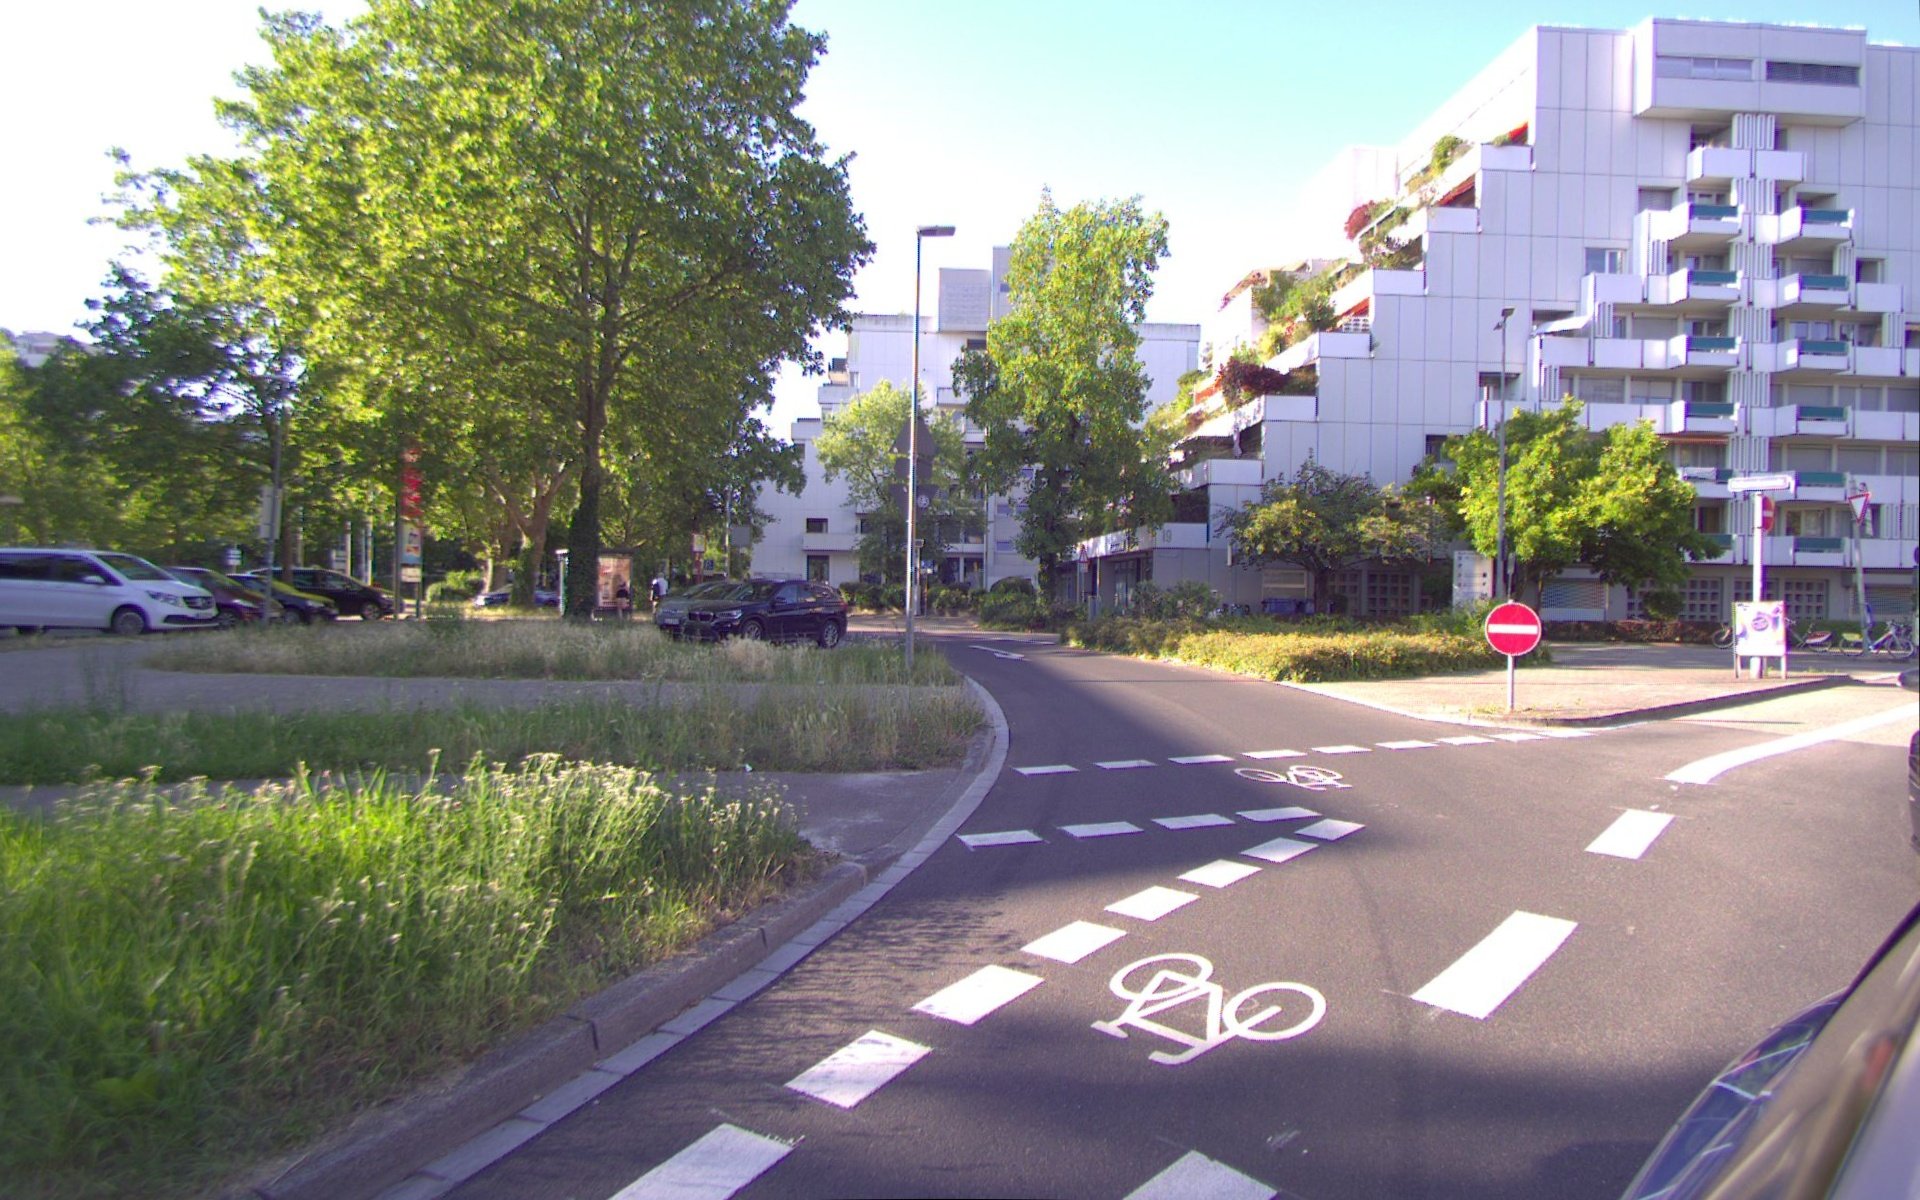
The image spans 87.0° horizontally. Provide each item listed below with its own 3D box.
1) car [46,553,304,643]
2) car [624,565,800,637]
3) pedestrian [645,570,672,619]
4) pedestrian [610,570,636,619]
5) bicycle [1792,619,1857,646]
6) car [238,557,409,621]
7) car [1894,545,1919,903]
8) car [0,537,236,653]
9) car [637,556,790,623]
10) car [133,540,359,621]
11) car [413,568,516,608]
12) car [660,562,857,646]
[{"bbox_3d":[-19.091,-0.058,24.818,4.540,1.797,2.004,4,0,-6],"label":"car"},{"bbox_3d":[-6.308,0.068,26.207,1.815,1.607,4.318,4,0,32],"label":"car"},{"bbox_3d":[-10.438,-0.194,35.065,0.712,1.683,0.745,1,0,-3],"label":"pedestrian"},{"bbox_3d":[-11.716,-0.182,35.203,0.619,1.683,0.743,1,1,-38],"label":"pedestrian"},{"bbox_3d":[28.028,1.047,32.840,0.457,0.794,1.572,0,1,-45],"label":"bicycle"},{"bbox_3d":[-20.992,-0.354,33.634,4.538,1.797,2.005,4,0,-27],"label":"car"},{"bbox_3d":[6.340,0.562,5.479,1.839,1.565,4.453,-1,-1,43],"label":"car"},{"bbox_3d":[-18.813,-0.156,21.677,4.950,2.123,2.004,4,0,-6],"label":"car"},{"bbox_3d":[-7.098,-0.266,29.405,1.864,1.659,3.943,4,0,38],"label":"car"},{"bbox_3d":[-19.213,-0.504,27.436,4.540,1.797,2.004,4,0,-6],"label":"car"},{"bbox_3d":[-23.571,-0.610,48.188,4.041,1.821,1.996,-1,1,-42],"label":"car"},{"bbox_3d":[-4.558,0.131,23.587,1.924,1.680,4.425,4,0,32],"label":"car"}]
